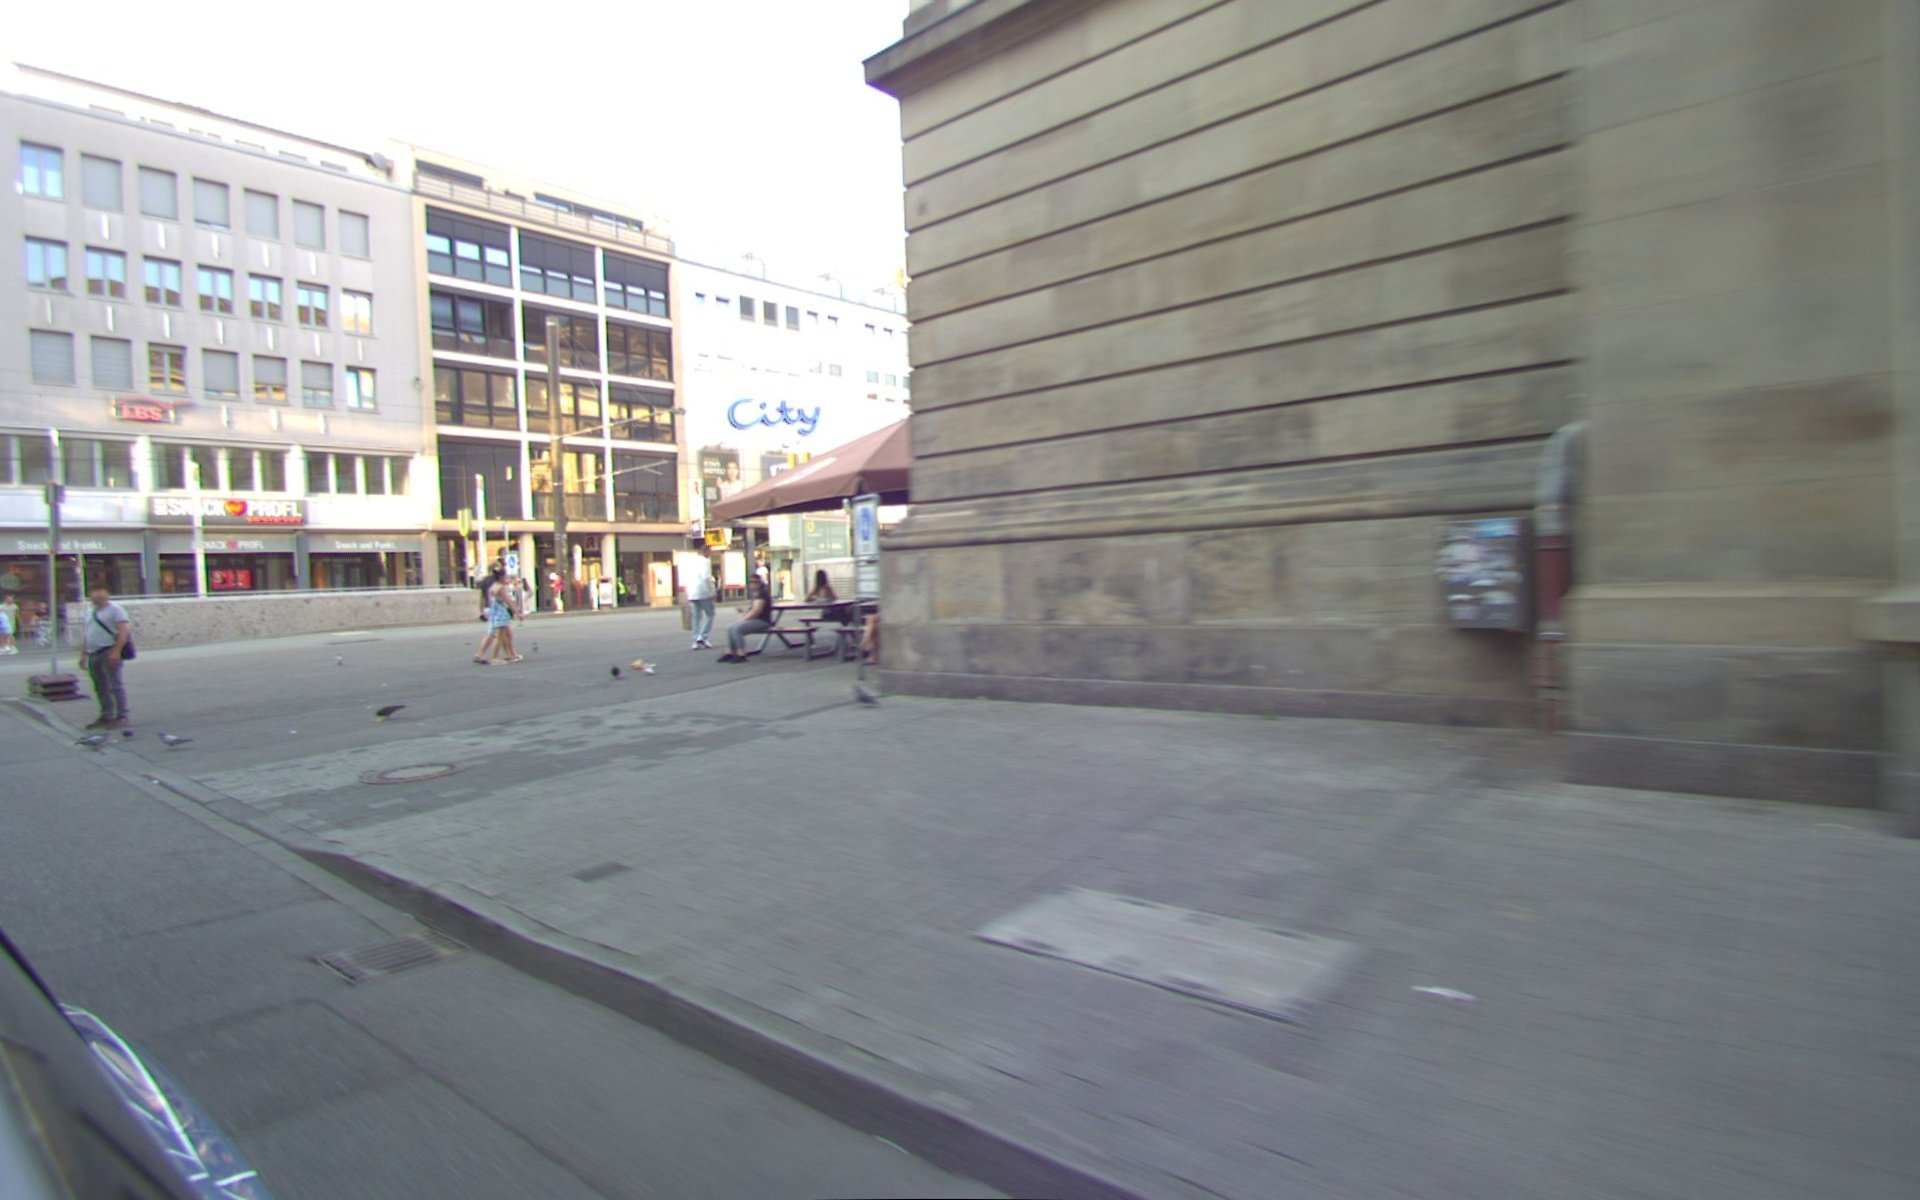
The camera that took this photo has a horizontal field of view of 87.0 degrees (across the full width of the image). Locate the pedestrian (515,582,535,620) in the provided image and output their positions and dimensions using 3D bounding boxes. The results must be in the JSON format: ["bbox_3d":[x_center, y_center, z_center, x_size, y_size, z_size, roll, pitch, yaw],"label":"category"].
[{"bbox_3d":[-18.761,0.043,43.674,0.488,1.598,0.570,-2,2,9],"label":"pedestrian"}]

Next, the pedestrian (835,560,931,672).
[{"bbox_3d":[-0.970,0.185,12.671,0.850,1.281,0.752,-6,3,-31],"label":"pedestrian"}]

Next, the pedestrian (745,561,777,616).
[{"bbox_3d":[-6.512,-0.371,33.132,0.676,1.775,0.801,-2,0,-39],"label":"pedestrian"}]

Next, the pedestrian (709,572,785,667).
[{"bbox_3d":[-3.126,0.273,14.807,0.766,1.283,0.789,-6,3,-33],"label":"pedestrian"}]

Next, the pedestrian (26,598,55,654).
[{"bbox_3d":[-28.834,0.818,31.728,0.558,1.720,0.539,-1,2,41],"label":"pedestrian"}]

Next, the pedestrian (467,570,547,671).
[{"bbox_3d":[-7.550,0.337,16.893,0.735,1.602,0.858,-2,3,26],"label":"pedestrian"}]

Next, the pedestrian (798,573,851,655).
[{"bbox_3d":[-2.109,0.209,15.807,0.637,1.199,0.559,-4,3,6],"label":"pedestrian"}]

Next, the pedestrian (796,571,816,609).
[{"bbox_3d":[-7.020,-0.455,46.118,0.570,1.693,0.655,-2,2,23],"label":"pedestrian"}]

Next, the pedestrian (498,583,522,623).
[{"bbox_3d":[-19.490,0.114,43.833,0.617,1.665,0.668,-2,2,9],"label":"pedestrian"}]

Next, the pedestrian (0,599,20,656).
[{"bbox_3d":[-29.752,0.850,31.546,0.558,1.720,0.539,-1,2,41],"label":"pedestrian"}]

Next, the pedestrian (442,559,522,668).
[{"bbox_3d":[-8.109,0.222,17.196,0.741,1.774,0.855,-2,3,26],"label":"pedestrian"}]

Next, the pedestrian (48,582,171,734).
[{"bbox_3d":[-9.760,0.648,11.641,0.734,1.672,0.752,-2,0,5],"label":"pedestrian"}]

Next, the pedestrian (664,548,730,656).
[{"bbox_3d":[-4.438,0.041,17.096,0.796,1.775,0.681,-2,0,27],"label":"pedestrian"}]

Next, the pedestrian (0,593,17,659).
[{"bbox_3d":[-28.008,0.763,29.395,0.641,1.906,0.774,-1,1,40],"label":"pedestrian"}]

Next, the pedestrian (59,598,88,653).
[{"bbox_3d":[-28.467,0.799,32.493,0.558,1.720,0.539,-1,2,41],"label":"pedestrian"}]

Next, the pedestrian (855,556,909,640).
[{"bbox_3d":[-1.312,-0.039,16.978,0.611,1.346,0.555,-2,3,35],"label":"pedestrian"}]

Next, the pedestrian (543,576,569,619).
[{"bbox_3d":[-16.818,-0.096,42.133,0.699,1.720,0.681,-4,2,-44],"label":"pedestrian"}]
